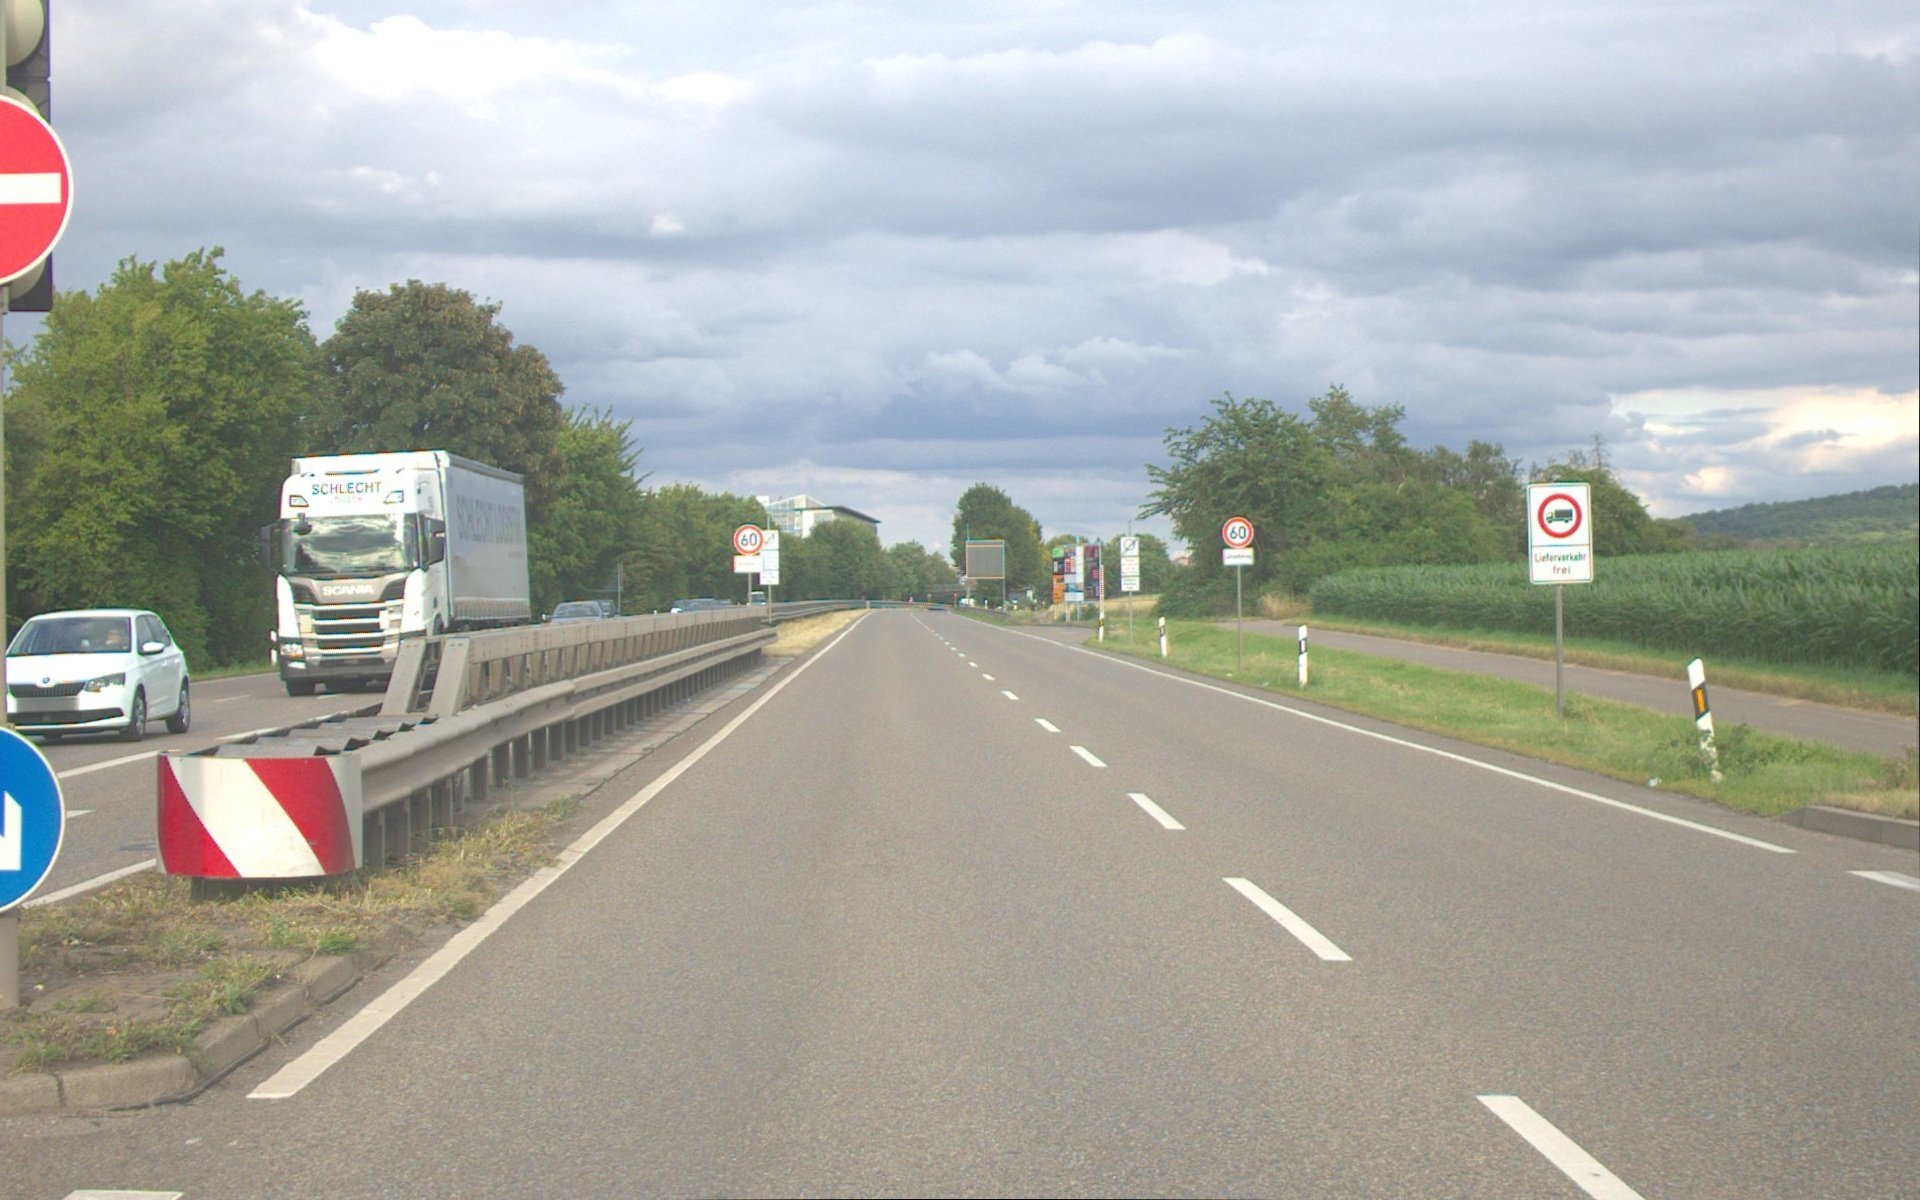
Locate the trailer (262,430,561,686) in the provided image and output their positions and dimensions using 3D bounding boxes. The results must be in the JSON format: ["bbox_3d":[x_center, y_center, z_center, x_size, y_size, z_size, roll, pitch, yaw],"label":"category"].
[{"bbox_3d":[-9.960,-0.724,64.362,3.465,4.136,13.917,-2,0,-1],"label":"trailer"}]

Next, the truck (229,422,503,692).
[{"bbox_3d":[-9.843,-0.699,57.675,3.474,4.136,6.050,-2,0,-1],"label":"truck"}]

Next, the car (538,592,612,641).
[{"bbox_3d":[-11.487,0.467,102.739,1.789,1.381,4.160,-1,0,-1],"label":"car"}]

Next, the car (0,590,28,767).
[{"bbox_3d":[-9.664,0.745,30.028,1.907,1.604,4.405,-1,0,-1],"label":"car"}]

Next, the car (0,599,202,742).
[{"bbox_3d":[-9.750,0.748,38.220,1.789,1.439,4.160,-1,0,-1],"label":"car"}]

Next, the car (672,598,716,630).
[{"bbox_3d":[-13.017,0.659,168.366,1.866,1.472,4.826,-1,0,-1],"label":"car"}]
